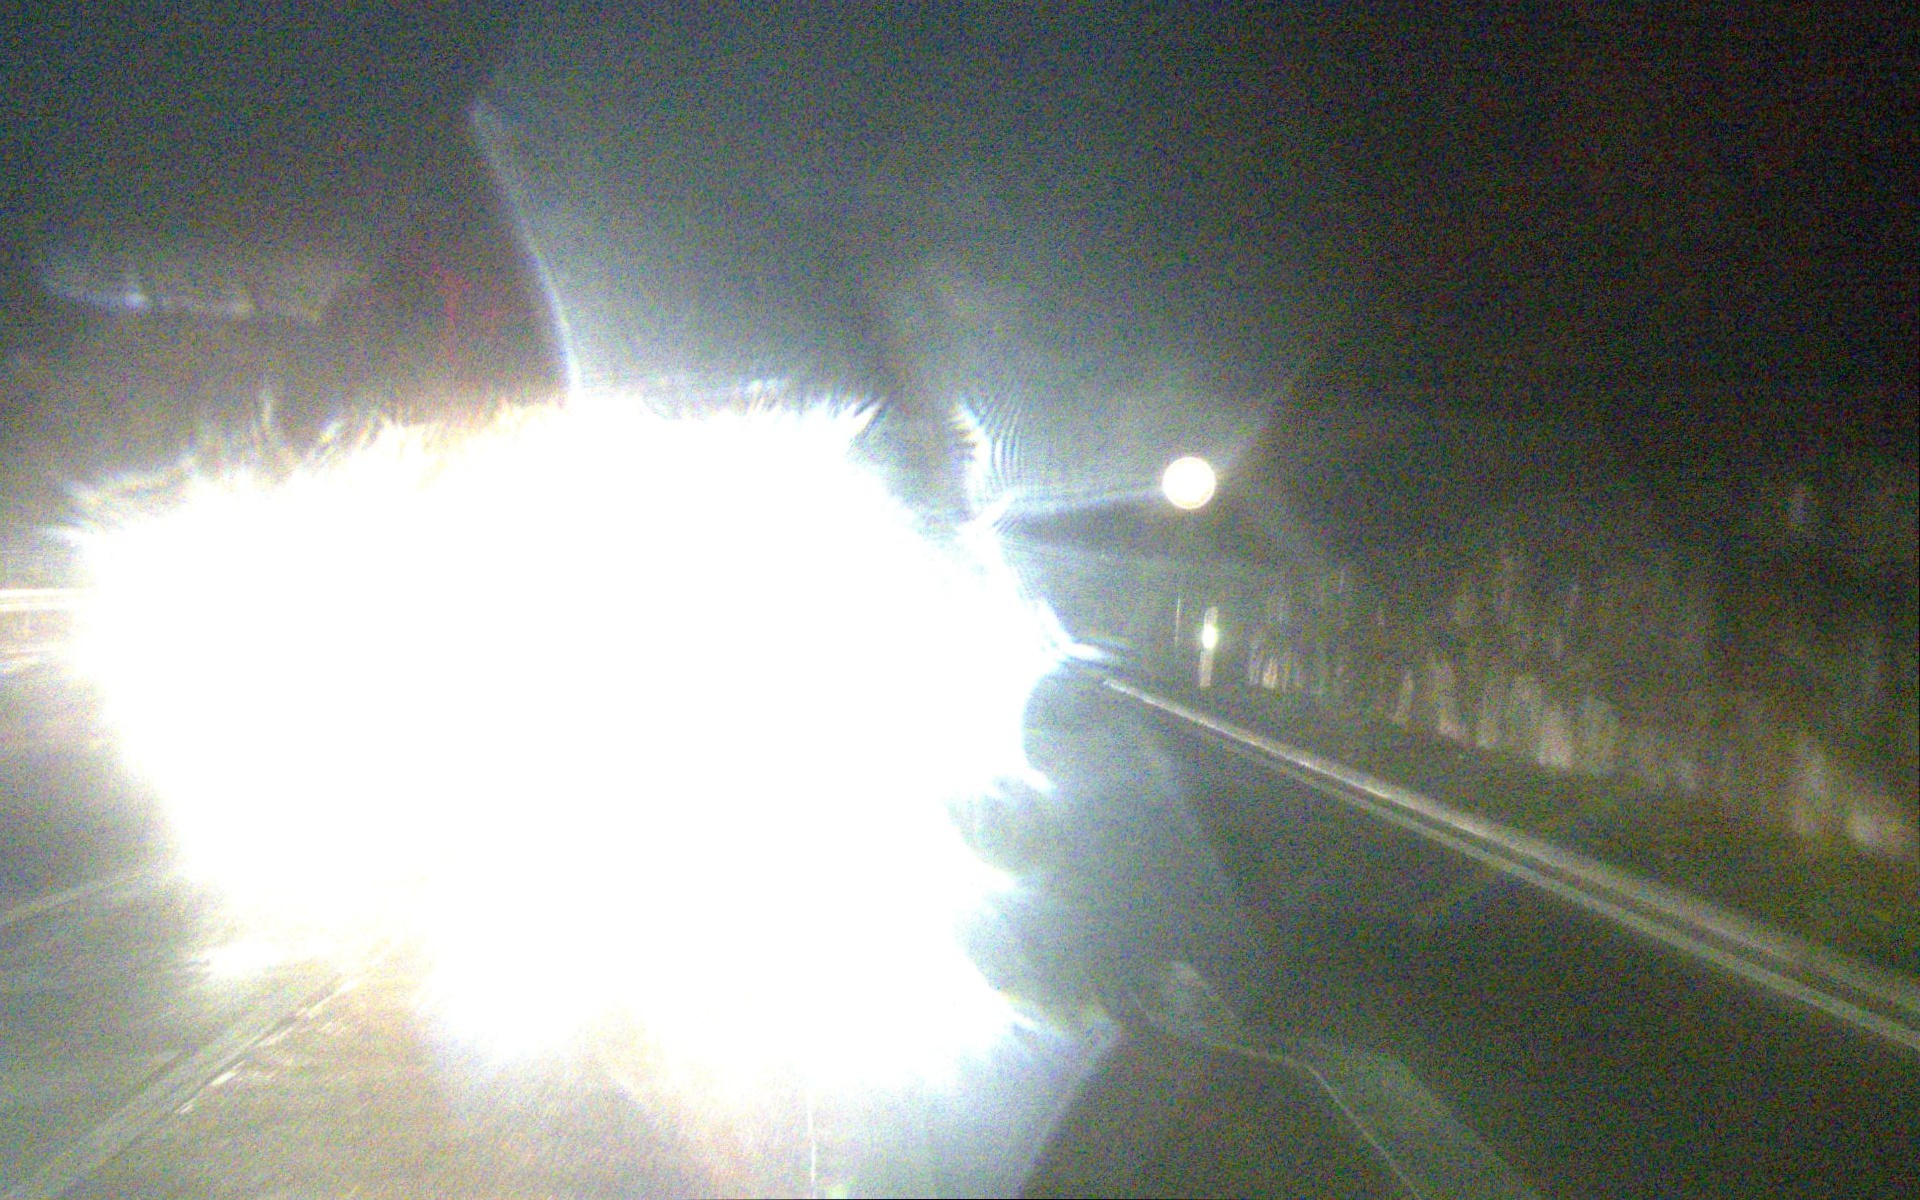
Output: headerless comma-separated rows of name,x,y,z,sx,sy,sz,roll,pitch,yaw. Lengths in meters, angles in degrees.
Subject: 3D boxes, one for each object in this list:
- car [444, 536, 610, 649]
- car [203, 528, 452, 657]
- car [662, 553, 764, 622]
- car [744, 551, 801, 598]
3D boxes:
car,-7.601,-0.164,60.853,1.994,1.858,5.319,1,1,3
car,-8.114,-0.123,44.574,2.083,1.537,4.898,1,1,3
car,-6.013,-0.326,84.226,2.110,1.570,4.680,2,1,0
car,-6.832,-0.946,125.402,1.923,1.610,4.085,2,1,-1
